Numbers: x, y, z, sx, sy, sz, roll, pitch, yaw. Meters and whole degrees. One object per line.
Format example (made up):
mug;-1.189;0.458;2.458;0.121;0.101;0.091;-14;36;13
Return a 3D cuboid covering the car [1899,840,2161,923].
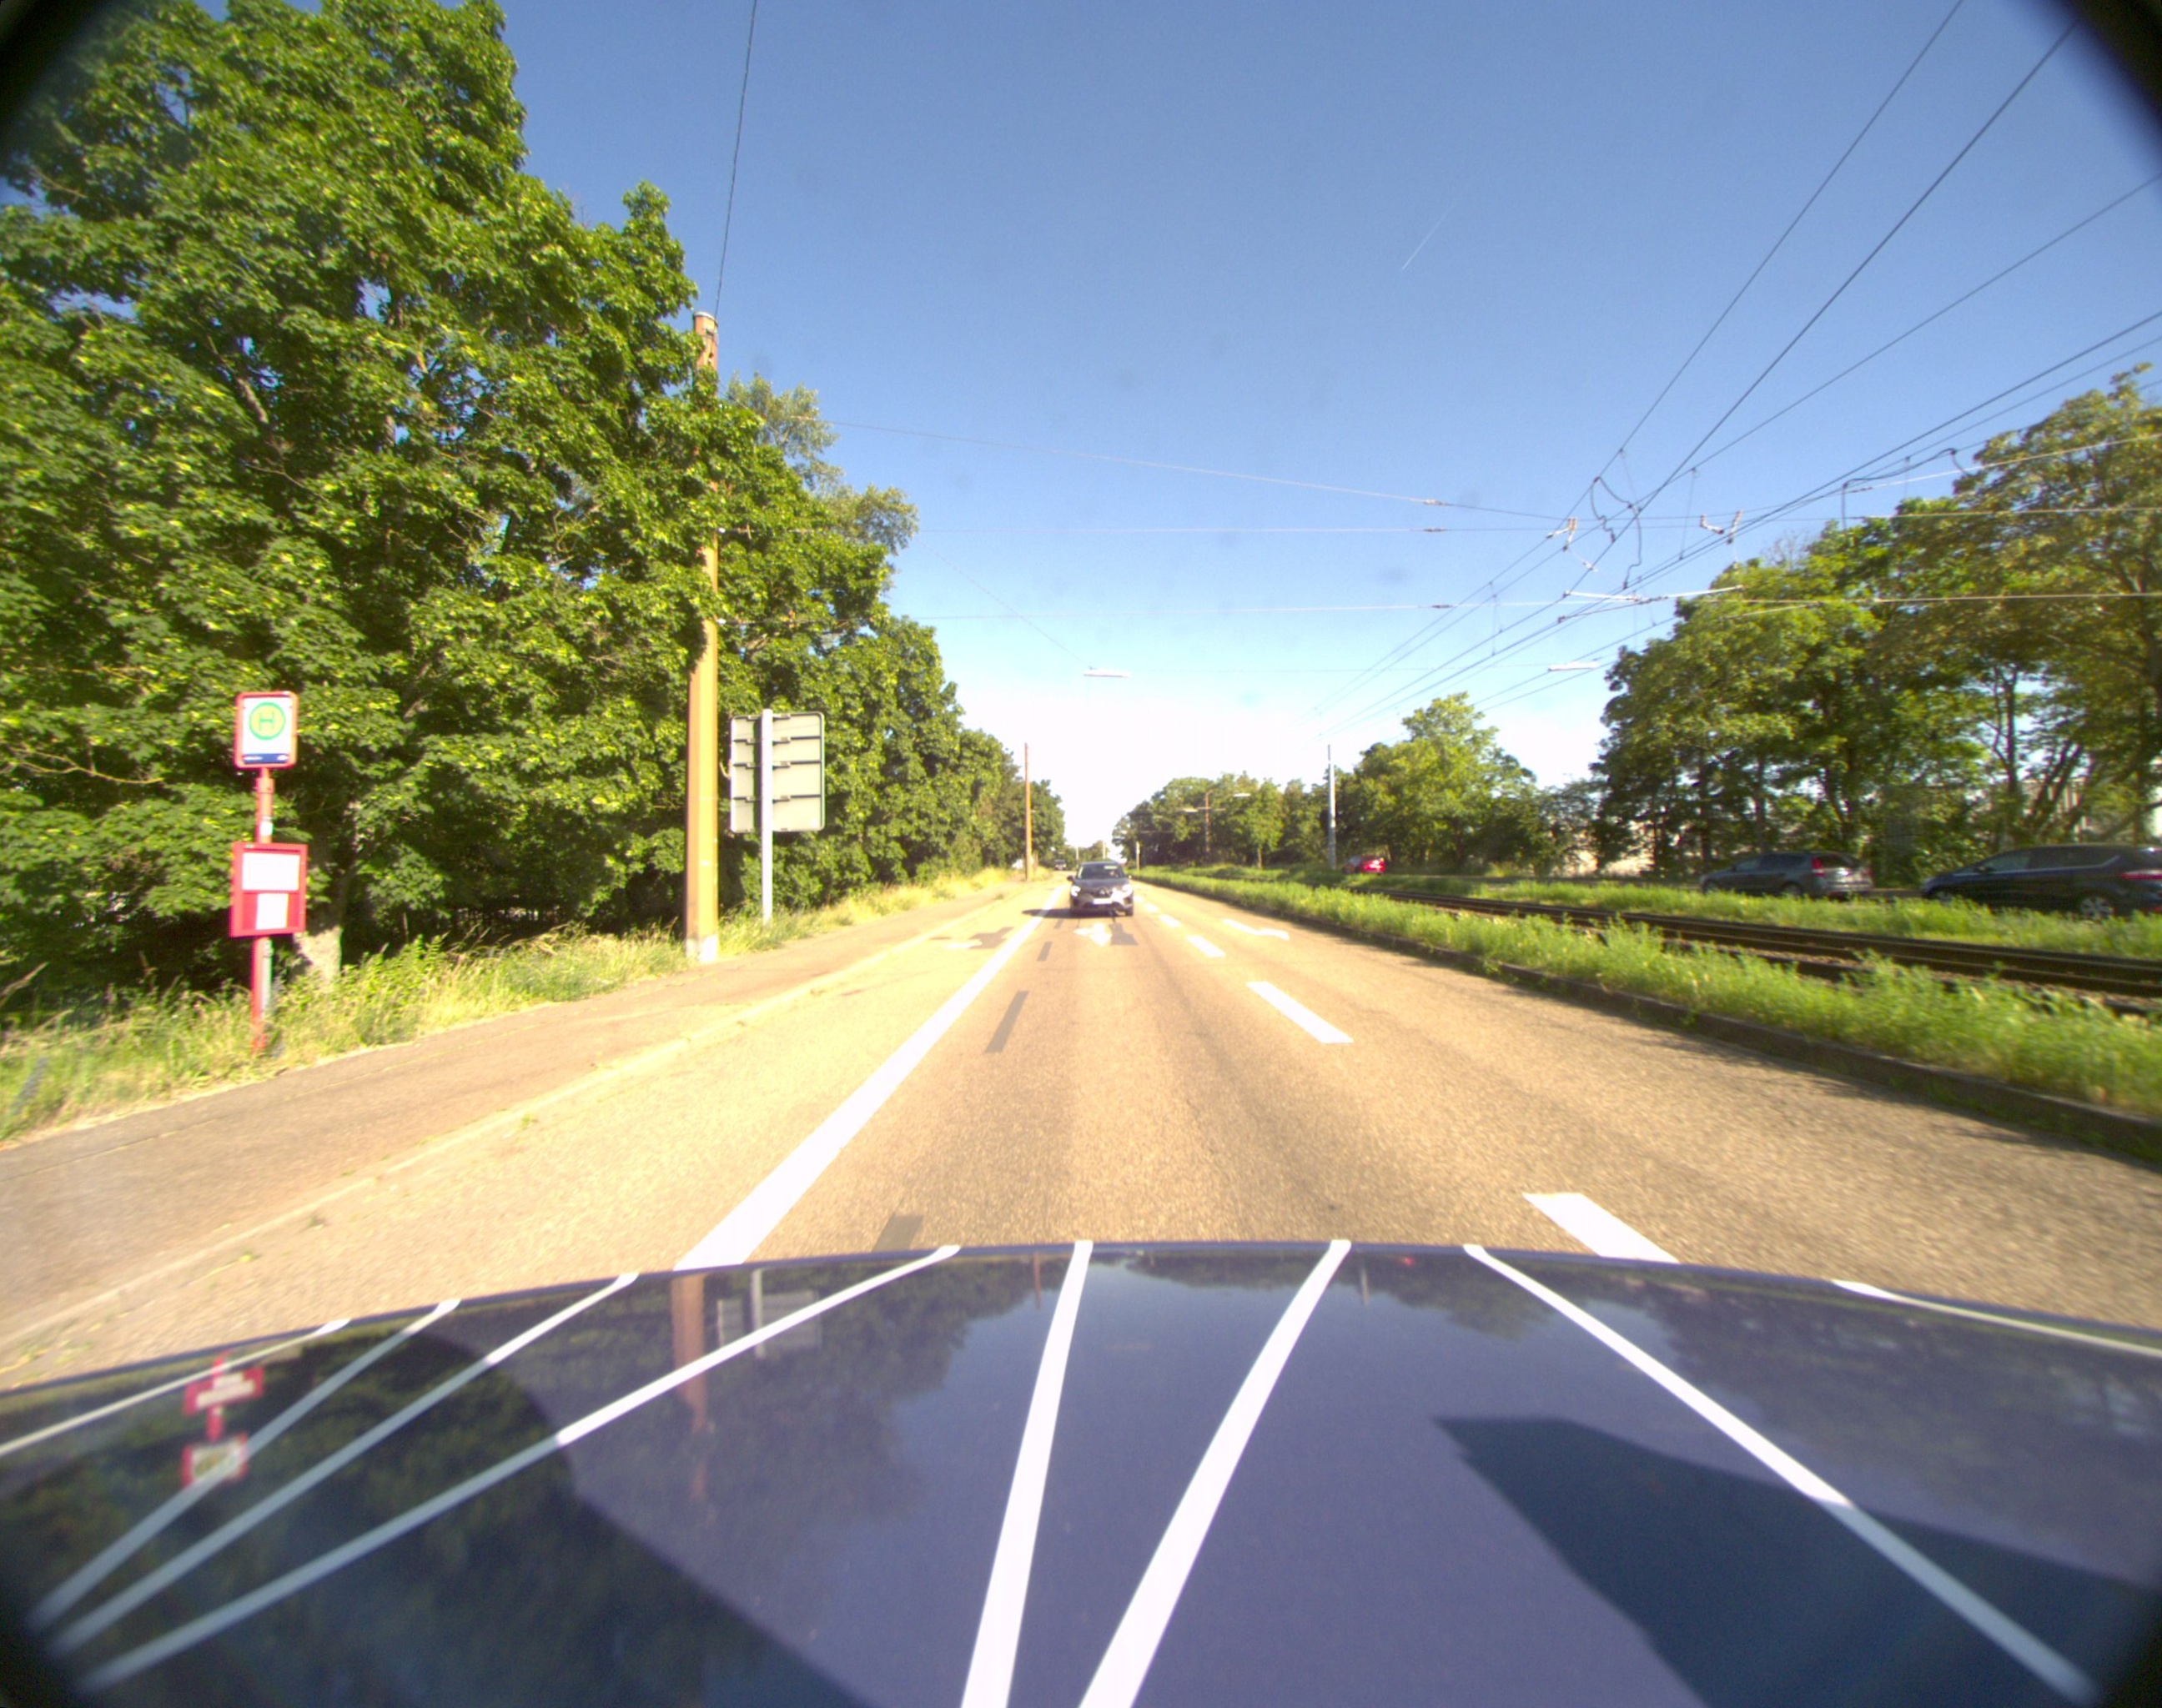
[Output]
car;21.361;0.530;16.669;1.999;1.565;4.435;-1;0;-1

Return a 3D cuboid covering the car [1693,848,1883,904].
car;21.517;0.627;23.422;1.740;1.485;4.327;-3;0;-1

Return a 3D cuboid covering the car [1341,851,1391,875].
car;21.376;0.654;57.232;2.009;1.692;4.466;-1;0;0

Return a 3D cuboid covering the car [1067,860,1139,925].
car;0.599;1.023;21.969;1.822;1.589;4.413;-2;0;1

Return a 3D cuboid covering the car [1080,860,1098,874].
car;1.034;1.656;96.655;1.999;1.577;3.999;-2;0;-3

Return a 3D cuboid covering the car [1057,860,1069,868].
car;-3.726;1.981;156.268;2.000;1.577;3.997;-2;0;-7
